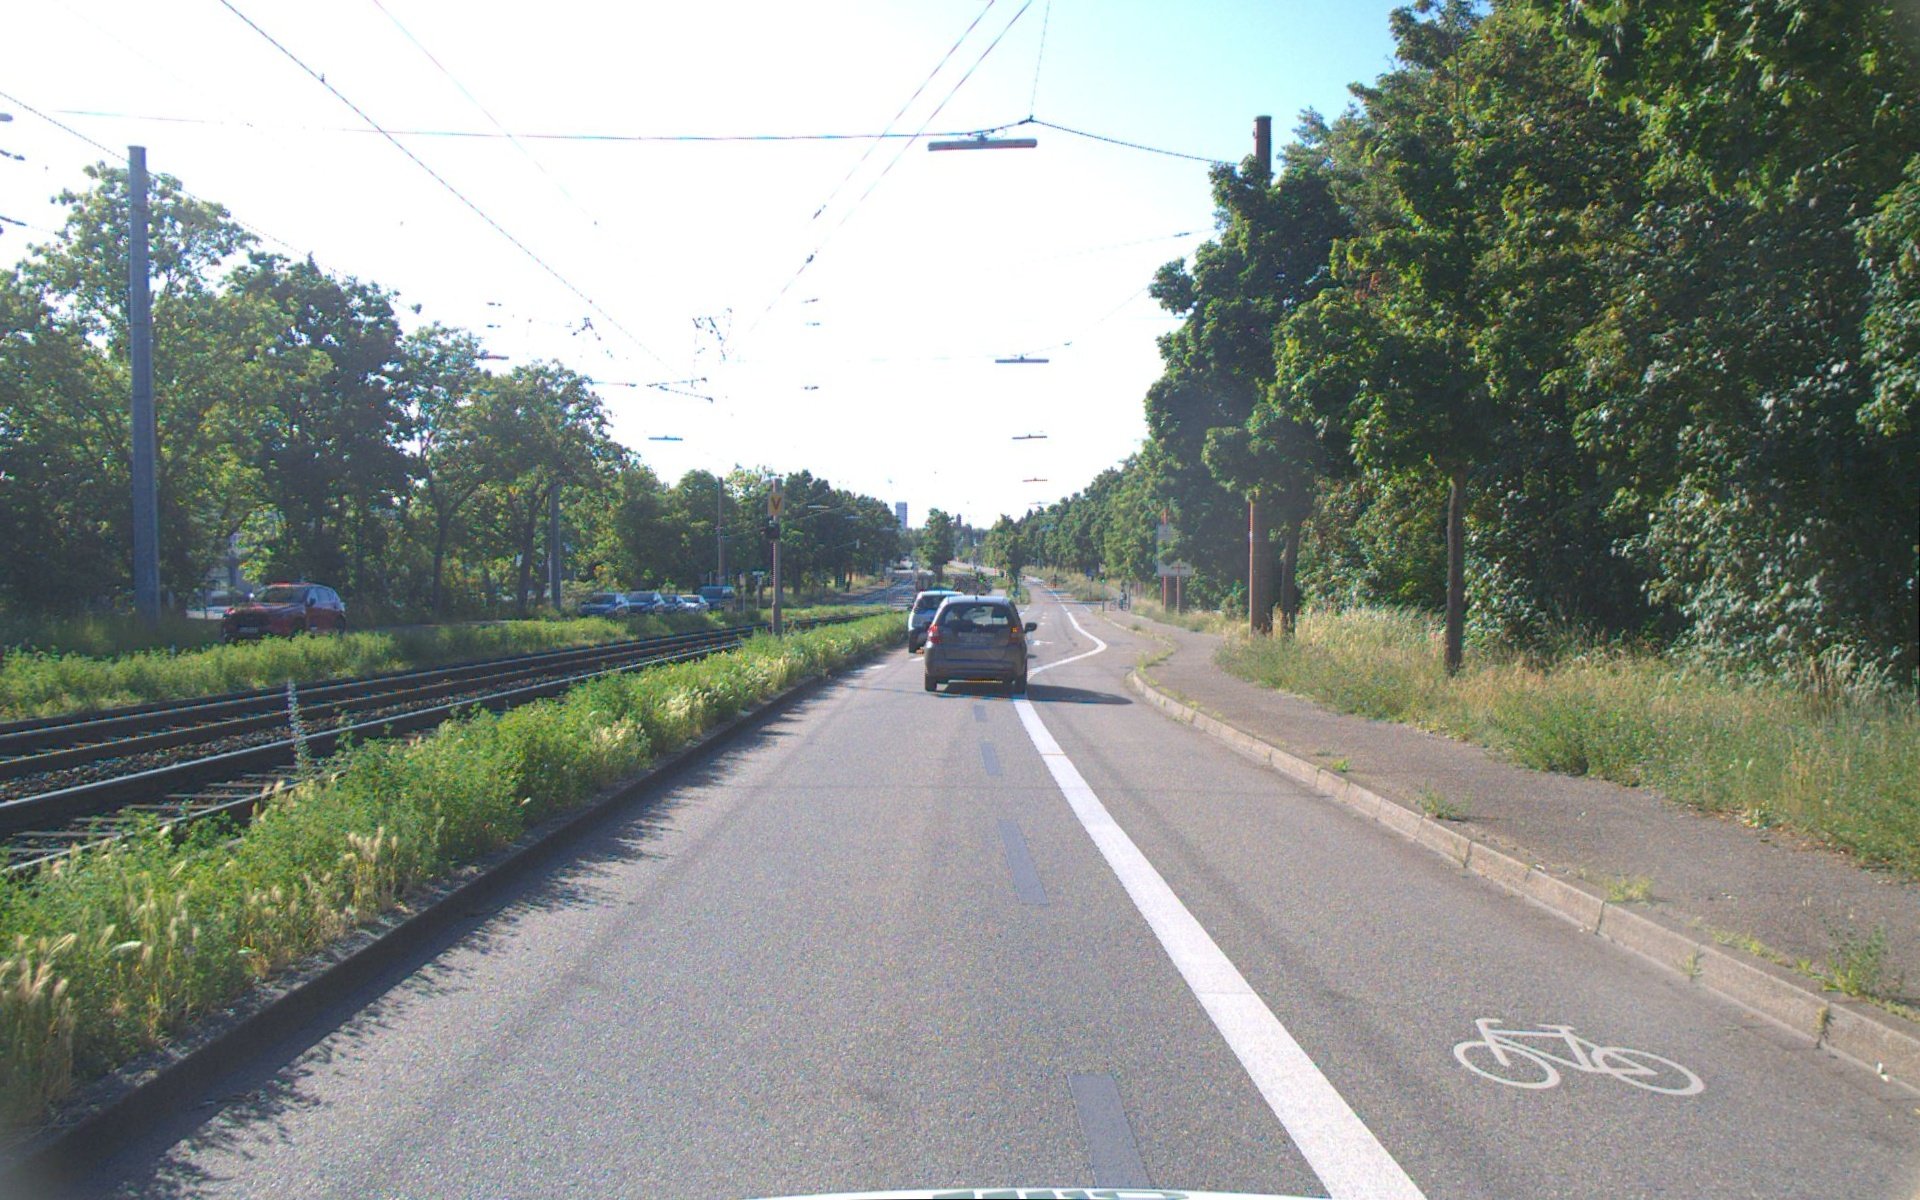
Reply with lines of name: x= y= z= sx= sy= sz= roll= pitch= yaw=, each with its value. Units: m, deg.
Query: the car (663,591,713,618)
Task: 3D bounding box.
car: x=-15.855 y=0.247 z=96.686 sx=1.888 sy=1.462 sz=4.697 roll=0 pitch=1 yaw=3

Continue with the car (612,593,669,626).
car: x=-16.323 y=0.469 z=84.739 sx=1.952 sy=1.602 sz=4.436 roll=0 pitch=1 yaw=2

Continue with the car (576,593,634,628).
car: x=-16.693 y=0.488 z=77.942 sx=1.699 sy=1.520 sz=4.328 roll=2 pitch=0 yaw=1

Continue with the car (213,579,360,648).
car: x=-17.802 y=0.322 z=43.955 sx=1.962 sy=1.732 sz=4.468 roll=0 pitch=0 yaw=2

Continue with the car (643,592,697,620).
car: x=-15.857 y=0.284 z=90.704 sx=1.952 sy=1.462 sz=4.417 roll=0 pitch=1 yaw=3

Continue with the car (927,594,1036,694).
car: x=0.370 y=0.677 z=27.829 sx=1.671 sy=1.535 sz=4.001 roll=1 pitch=0 yaw=1

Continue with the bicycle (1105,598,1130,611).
bicycle: x=12.958 y=0.369 z=135.856 sx=1.879 sy=1.015 sz=0.765 roll=-2 pitch=-1 yaw=14

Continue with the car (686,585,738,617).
car: x=-15.412 y=0.067 z=103.046 sx=2.150 sy=1.924 sz=4.794 roll=0 pitch=0 yaw=5

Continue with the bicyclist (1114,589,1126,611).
bicyclist: x=13.151 y=-0.024 z=135.805 sx=0.890 sy=1.775 sz=0.765 roll=-1 pitch=0 yaw=14

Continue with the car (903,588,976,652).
car: x=-0.506 y=0.511 z=44.619 sx=1.812 sy=1.634 sz=4.255 roll=0 pitch=0 yaw=1
